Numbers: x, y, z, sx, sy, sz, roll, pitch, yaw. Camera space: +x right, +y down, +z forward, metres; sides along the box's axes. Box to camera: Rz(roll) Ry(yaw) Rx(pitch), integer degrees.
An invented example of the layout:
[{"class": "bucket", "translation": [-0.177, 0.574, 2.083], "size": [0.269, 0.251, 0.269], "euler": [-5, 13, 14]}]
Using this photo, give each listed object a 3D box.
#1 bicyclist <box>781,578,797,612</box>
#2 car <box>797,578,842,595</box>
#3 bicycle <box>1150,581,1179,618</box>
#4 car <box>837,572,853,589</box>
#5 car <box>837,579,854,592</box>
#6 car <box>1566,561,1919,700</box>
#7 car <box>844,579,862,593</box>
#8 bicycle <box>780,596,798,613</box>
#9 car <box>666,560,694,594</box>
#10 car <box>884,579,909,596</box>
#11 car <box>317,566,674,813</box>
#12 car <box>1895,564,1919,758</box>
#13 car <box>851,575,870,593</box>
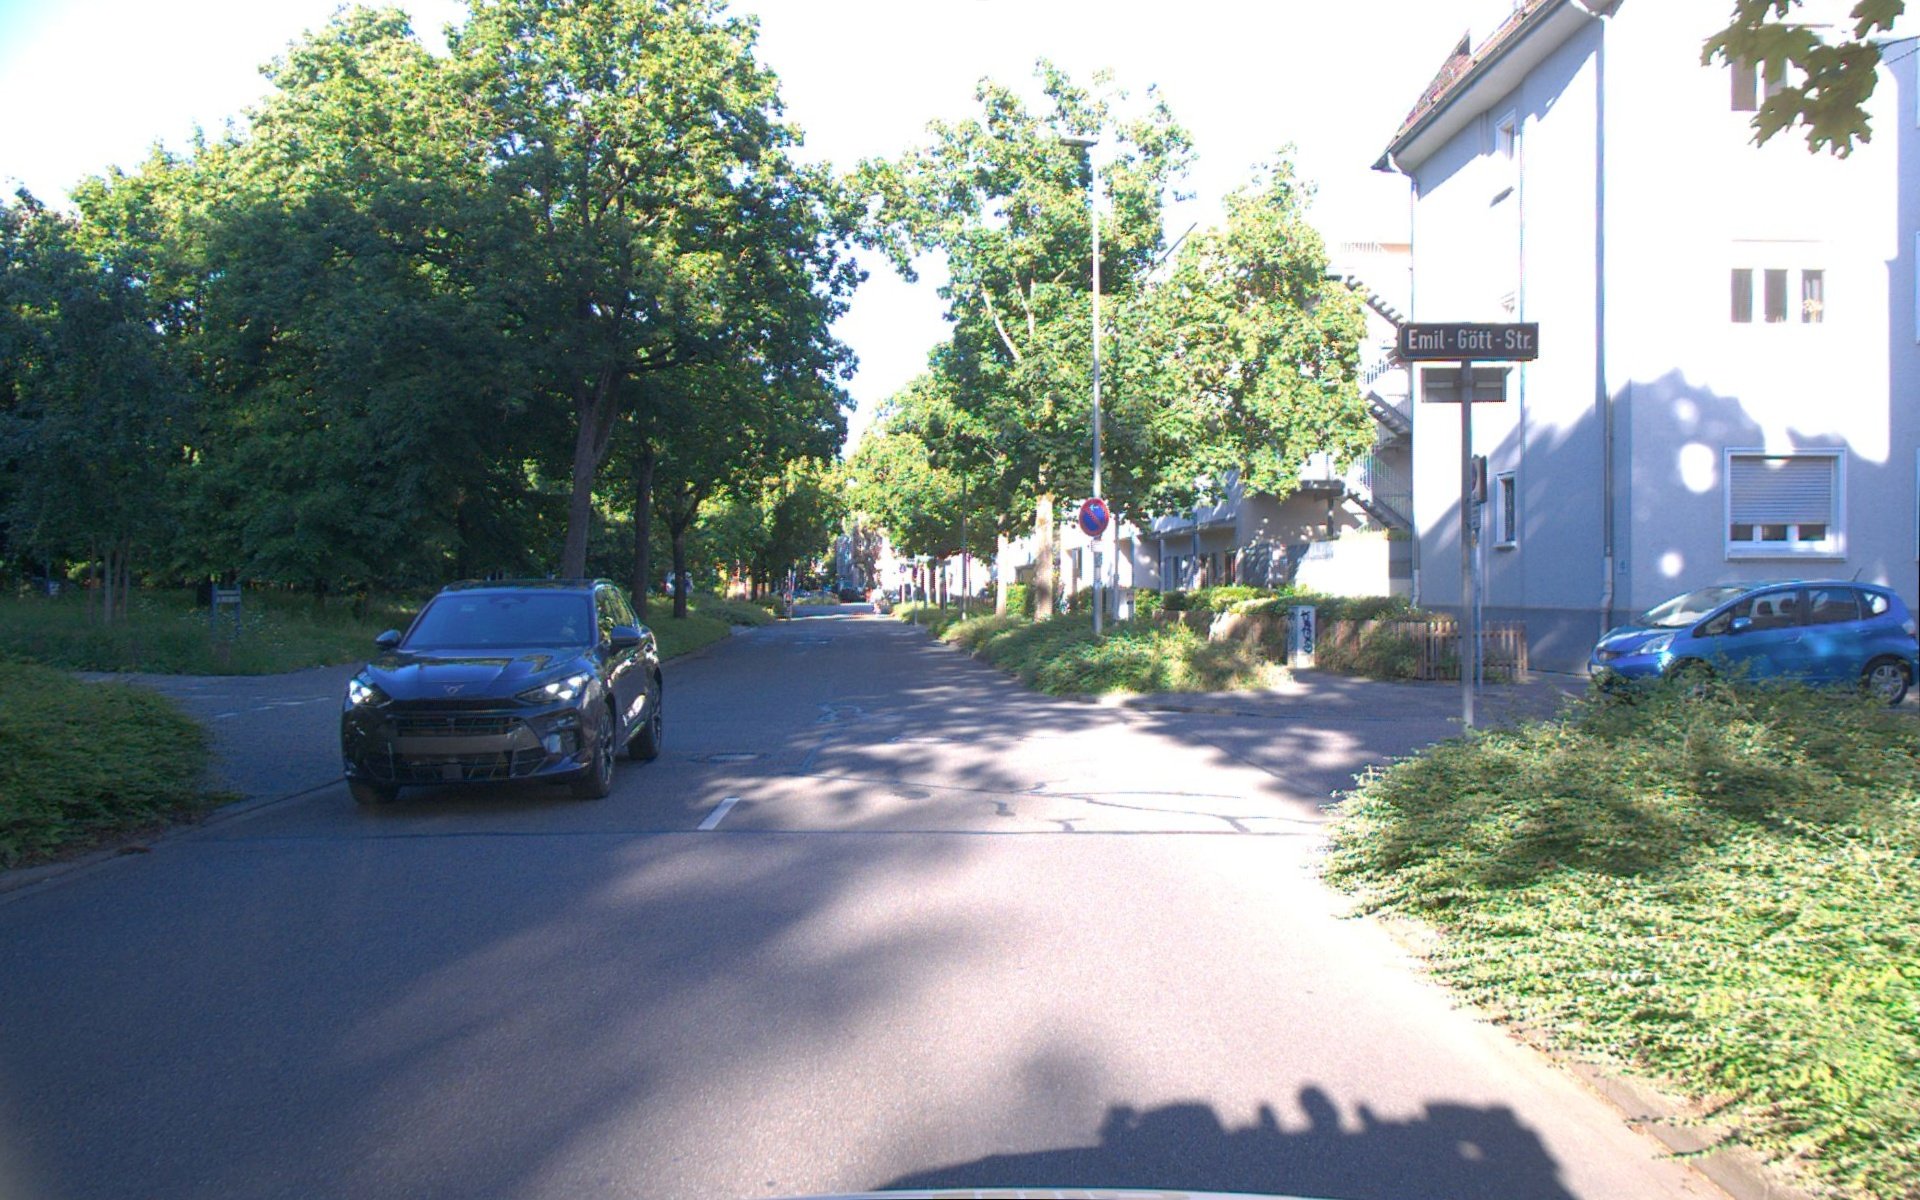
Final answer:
[{"class": "bicyclist", "translation": [-8.103, -0.252, 78.366], "size": [0.620, 1.582, 1.002], "euler": [-2, 1, 0]}, {"class": "car", "translation": [-12.870, -1.236, 151.193], "size": [3.917, 1.527, 1.812], "euler": [1, 1, -12]}, {"class": "bicycle", "translation": [6.865, -0.013, 55.573], "size": [0.605, 1.212, 1.752], "euler": [1, 0, -4]}, {"class": "car", "translation": [-14.420, -2.484, 206.767], "size": [1.777, 2.086, 3.994], "euler": [1, 1, -8]}, {"class": "car", "translation": [-13.613, -1.727, 196.601], "size": [1.777, 1.527, 3.994], "euler": [1, 1, -8]}, {"class": "car", "translation": [9.806, 0.334, 20.527], "size": [3.909, 1.609, 1.808], "euler": [0, 2, -5]}, {"class": "car", "translation": [-12.329, -1.657, 190.149], "size": [1.777, 1.527, 3.994], "euler": [1, 1, -8]}, {"class": "bicycle", "translation": [-8.093, 0.227, 78.310], "size": [0.626, 0.754, 2.126], "euler": [-2, 1, 0]}, {"class": "car", "translation": [-21.857, -1.773, 129.020], "size": [1.959, 2.552, 3.987], "euler": [1, 0, -13]}, {"class": "car", "translation": [-5.933, -1.179, 153.762], "size": [1.779, 1.527, 3.989], "euler": [0, 1, -11]}, {"class": "car", "translation": [-3.498, 0.566, 13.308], "size": [1.807, 1.606, 4.333], "euler": [-2, 1, -3]}, {"class": "car", "translation": [9.622, 0.503, 12.705], "size": [3.960, 1.541, 1.725], "euler": [1, -1, -3]}, {"class": "car", "translation": [-10.952, -1.774, 182.096], "size": [1.777, 1.959, 3.994], "euler": [1, 1, -8]}]
